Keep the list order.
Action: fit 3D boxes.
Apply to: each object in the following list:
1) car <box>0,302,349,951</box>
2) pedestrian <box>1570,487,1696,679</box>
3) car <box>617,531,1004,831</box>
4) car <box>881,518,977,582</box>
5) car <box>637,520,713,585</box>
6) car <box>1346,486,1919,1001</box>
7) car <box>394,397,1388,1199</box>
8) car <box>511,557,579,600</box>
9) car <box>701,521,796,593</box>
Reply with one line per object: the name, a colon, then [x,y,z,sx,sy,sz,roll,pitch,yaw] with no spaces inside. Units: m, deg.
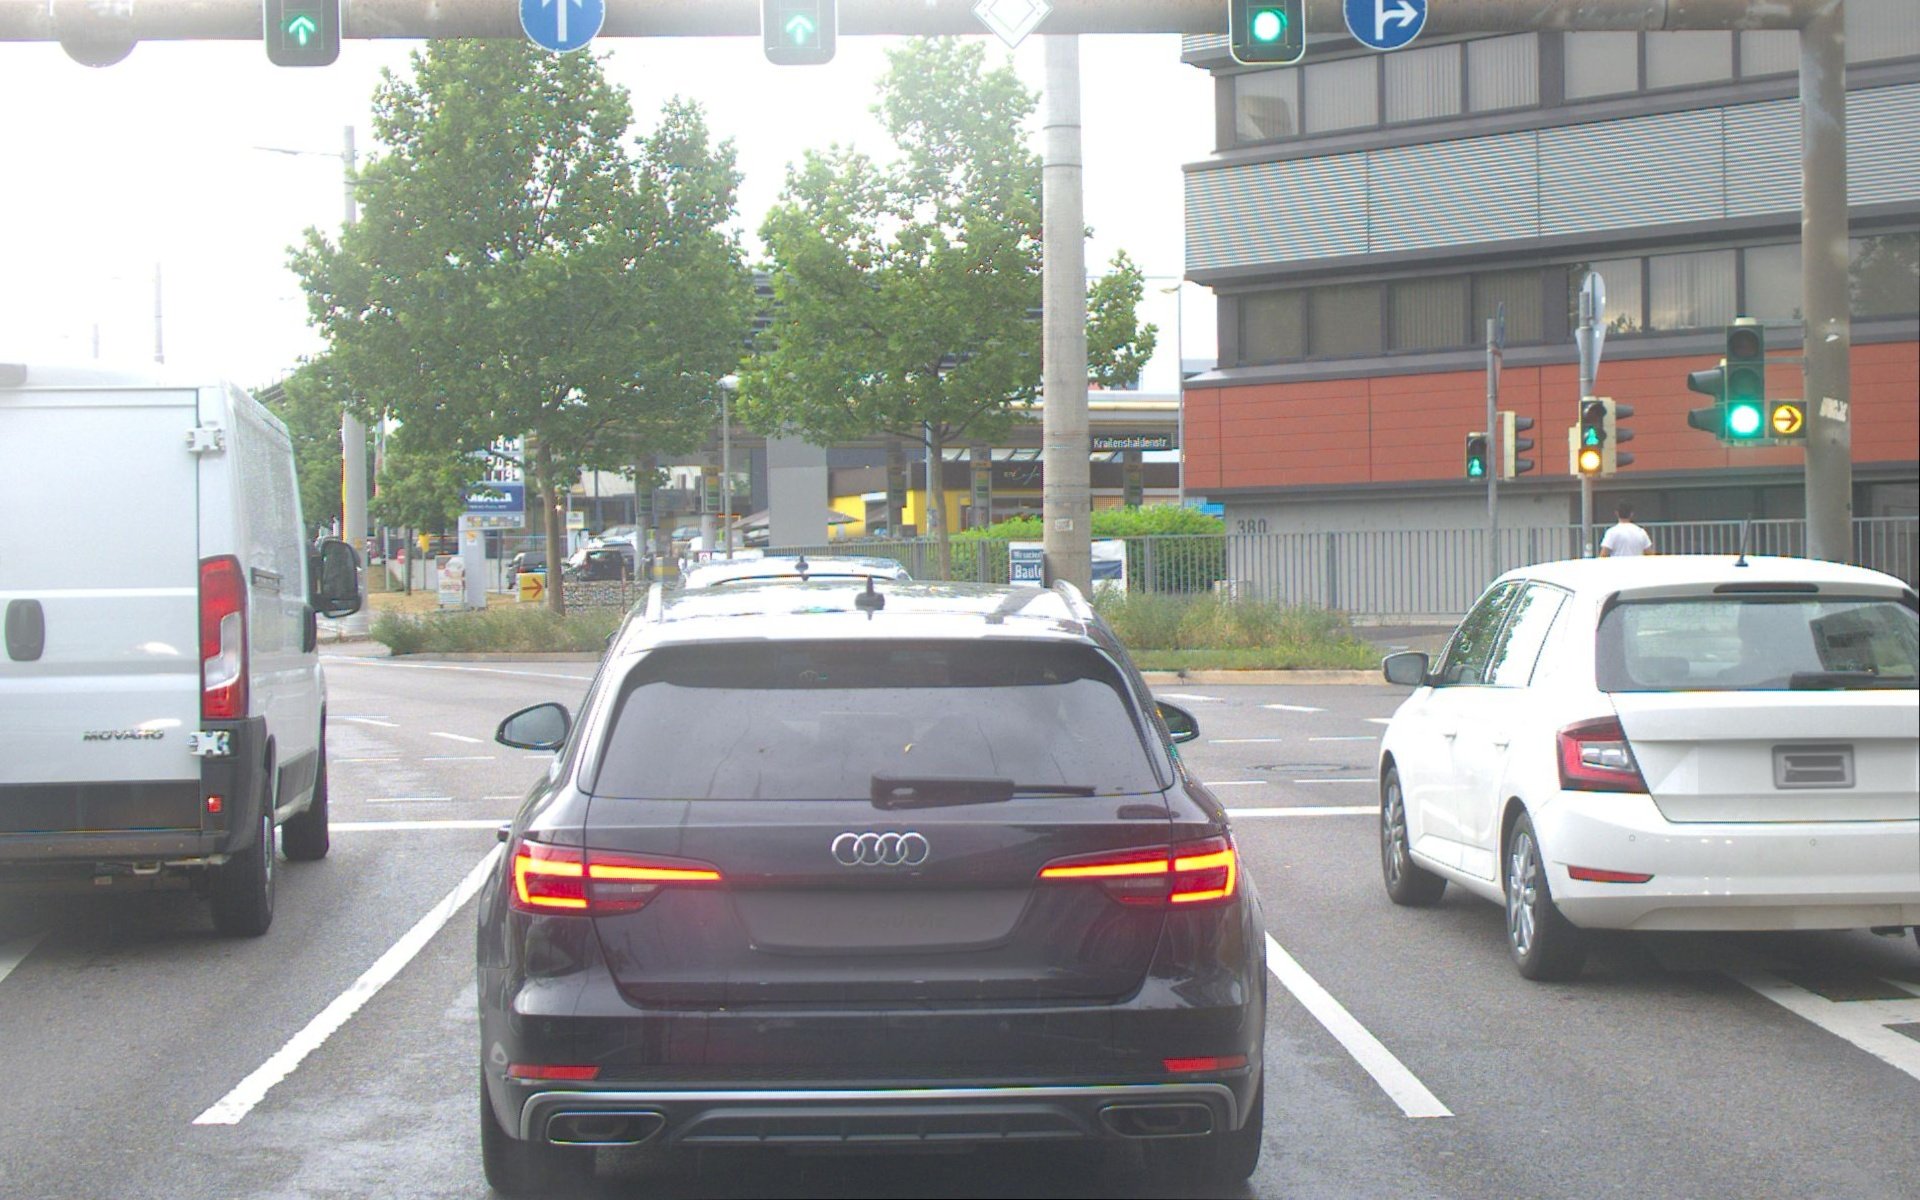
car: [-4.005,0.082,14.589,2.445,2.286,4.905,2,0,-7]
pedestrian: [7.646,-0.209,39.124,1.143,2.118,1.222,-1,2,-1]
car: [-0.890,0.398,18.852,1.893,1.460,3.910,0,0,-5]
car: [-1.048,-1.616,113.111,1.869,2.007,3.775,2,0,-21]
car: [-9.113,-1.500,109.711,1.678,2.007,3.543,2,0,-17]
car: [2.665,0.469,13.032,1.829,1.650,4.000,0,0,-2]
car: [-0.160,0.421,8.939,1.993,1.632,4.000,0,0,-1]
car: [-16.010,-0.841,132.424,1.791,1.586,4.001,-1,1,-19]
car: [-6.233,-1.259,100.915,1.993,2.025,4.001,-2,1,-15]
